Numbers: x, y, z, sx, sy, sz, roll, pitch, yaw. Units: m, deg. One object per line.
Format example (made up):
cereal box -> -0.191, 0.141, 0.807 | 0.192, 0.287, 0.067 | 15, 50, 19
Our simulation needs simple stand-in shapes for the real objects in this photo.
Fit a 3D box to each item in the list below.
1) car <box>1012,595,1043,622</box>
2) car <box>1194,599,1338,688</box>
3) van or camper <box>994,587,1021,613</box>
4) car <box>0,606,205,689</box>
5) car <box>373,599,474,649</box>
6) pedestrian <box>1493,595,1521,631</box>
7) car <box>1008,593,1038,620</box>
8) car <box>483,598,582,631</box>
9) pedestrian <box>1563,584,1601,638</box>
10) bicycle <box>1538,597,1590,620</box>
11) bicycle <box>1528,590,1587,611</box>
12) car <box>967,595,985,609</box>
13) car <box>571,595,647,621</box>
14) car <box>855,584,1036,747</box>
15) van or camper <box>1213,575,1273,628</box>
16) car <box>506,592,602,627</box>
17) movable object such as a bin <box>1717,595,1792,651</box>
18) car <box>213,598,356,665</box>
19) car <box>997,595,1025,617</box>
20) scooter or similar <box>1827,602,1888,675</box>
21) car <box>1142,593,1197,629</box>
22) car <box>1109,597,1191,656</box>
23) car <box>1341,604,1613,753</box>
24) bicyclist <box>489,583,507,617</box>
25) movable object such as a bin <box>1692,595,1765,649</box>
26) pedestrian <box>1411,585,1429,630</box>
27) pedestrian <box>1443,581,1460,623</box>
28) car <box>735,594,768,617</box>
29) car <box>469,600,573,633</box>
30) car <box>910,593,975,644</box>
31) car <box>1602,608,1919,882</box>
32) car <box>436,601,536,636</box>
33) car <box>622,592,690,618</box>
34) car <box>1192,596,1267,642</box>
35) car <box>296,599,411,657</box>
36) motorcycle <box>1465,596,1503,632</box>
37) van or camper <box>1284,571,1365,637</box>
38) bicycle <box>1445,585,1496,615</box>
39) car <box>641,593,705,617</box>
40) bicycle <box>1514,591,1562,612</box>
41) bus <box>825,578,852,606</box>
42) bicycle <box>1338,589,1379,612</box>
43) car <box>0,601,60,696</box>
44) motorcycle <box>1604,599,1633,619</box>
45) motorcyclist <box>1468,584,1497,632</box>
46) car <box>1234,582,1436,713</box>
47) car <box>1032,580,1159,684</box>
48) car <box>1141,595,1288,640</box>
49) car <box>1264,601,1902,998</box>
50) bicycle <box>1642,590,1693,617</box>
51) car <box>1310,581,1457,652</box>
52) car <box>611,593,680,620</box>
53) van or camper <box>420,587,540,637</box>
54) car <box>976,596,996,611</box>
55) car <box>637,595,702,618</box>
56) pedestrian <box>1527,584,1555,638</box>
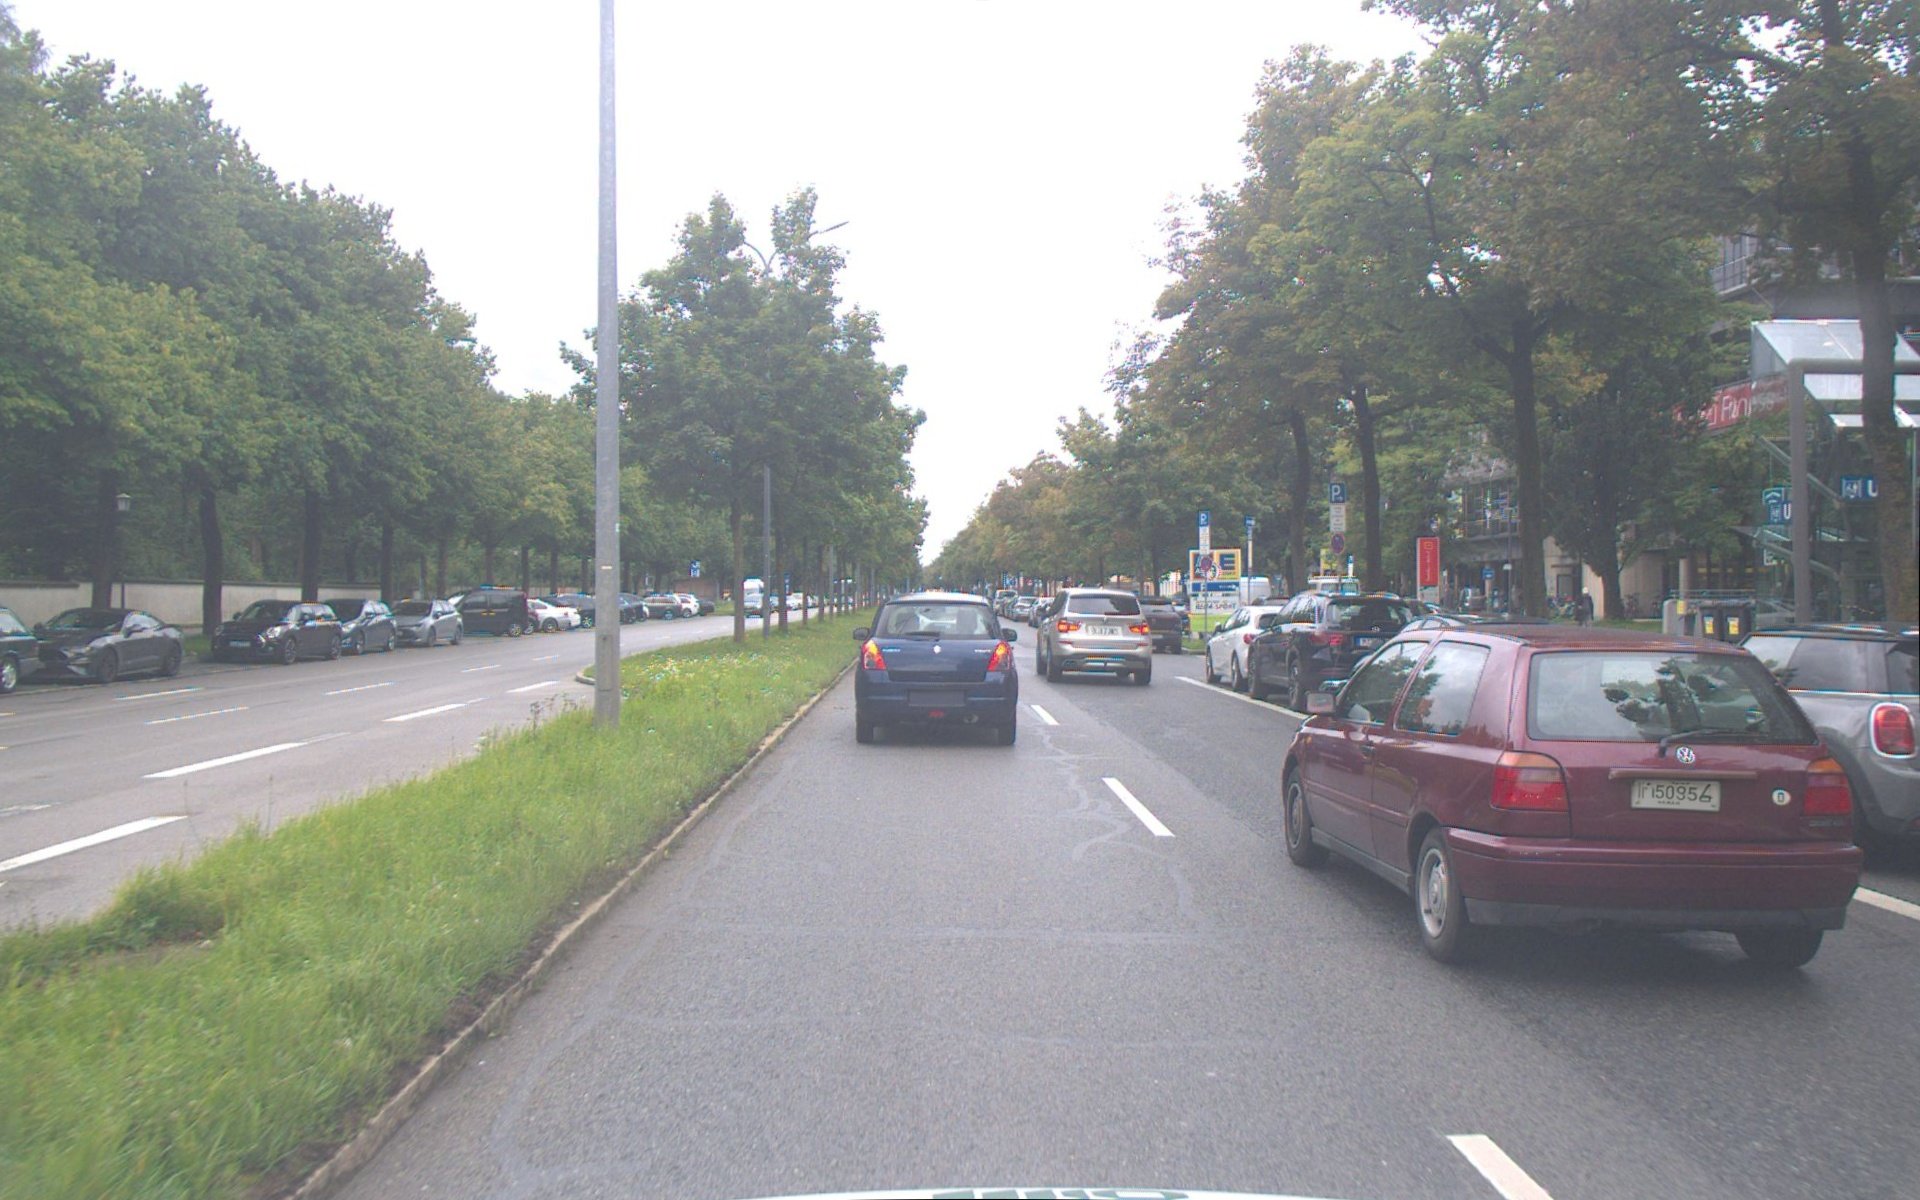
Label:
car -> 4.088, 0.476, 100.422 | 1.650, 1.552, 4.455 | 2, 0, 0
car -> 5.405, 0.719, 29.714 | 1.620, 1.459, 4.481 | 0, 0, -2
van or camper -> 3.647, 0.005, 127.986 | 1.905, 2.009, 4.306 | 0, 0, 0
car -> -16.503, 0.858, 32.081 | 1.625, 1.420, 4.705 | 1, 0, -1
car -> -16.906, 0.723, 52.362 | 1.602, 1.464, 4.808 | 1, 0, 0
pedestrian -> 20.645, 0.507, 62.413 | 0.683, 1.313, 0.732 | -2, -1, -11
car -> 4.022, 0.395, 106.128 | 1.650, 1.654, 4.306 | 1, 0, 0
car -> -18.986, 0.627, 73.497 | 3.999, 1.405, 1.653 | 0, 0, -37
pedestrian -> 20.394, 0.355, 54.261 | 0.811, 1.751, 0.939 | -2, 0, -1
bicycle -> 26.190, 0.354, 71.688 | 2.012, 0.975, 0.742 | 0, 0, 43
bicycle -> 26.409, 0.014, 73.077 | 2.361, 0.885, 0.766 | 0, 0, 43
car -> 1.740, 0.220, 180.160 | 1.813, 1.472, 4.095 | 0, 0, -3
car -> -20.704, 0.451, 97.613 | 4.054, 1.527, 1.898 | 0, 0, -32
car -> -0.236, 0.632, 18.052 | 1.753, 1.583, 3.998 | 0, 0, -3
van or camper -> 14.450, 0.074, 84.712 | 1.983, 2.602, 5.955 | 0, 0, -1
car -> -19.303, 0.446, 78.772 | 4.070, 1.625, 1.891 | 0, 0, -41
movable object such as a bin -> 20.692, 0.580, 43.101 | 1.309, 1.434, 1.314 | 0, 0, -3
car -> -16.490, 0.729, 40.617 | 1.538, 1.529, 4.305 | 1, 0, 3
car -> 3.741, 0.411, 121.620 | 1.651, 1.581, 4.303 | 0, 0, -4
scooter or similar -> 15.817, 0.670, 29.174 | 0.411, 1.254, 1.237 | 1, 0, 1
car -> 9.001, 0.440, 71.277 | 1.713, 1.504, 4.007 | 0, 0, -3
car -> 5.538, 0.740, 48.616 | 1.726, 1.617, 4.450 | 0, 0, -2
car -> 5.671, 0.791, 18.698 | 1.600, 1.464, 4.303 | 0, 0, -2
bicyclist -> -24.698, 0.000, 88.434 | 0.690, 1.777, 0.922 | 0, 0, -1
movable object such as a bin -> 20.644, 0.576, 44.450 | 1.309, 1.434, 1.314 | 0, 0, -3
pedestrian -> 18.500, 0.289, 66.522 | 0.563, 1.782, 0.732 | 0, 0, 3
pedestrian -> 20.922, 0.071, 70.405 | 0.563, 1.782, 0.732 | 0, 0, 3
car -> -14.363, 0.371, 114.052 | 1.875, 1.569, 4.185 | 0, 0, -3
car -> -18.645, 0.679, 70.290 | 3.955, 1.378, 1.827 | 0, 0, -36
car -> -0.579, 0.519, 49.938 | 1.813, 1.472, 4.095 | 0, 0, -3
car -> 5.957, 0.809, 11.156 | 1.601, 1.479, 4.077 | 0, 0, -1
car -> -19.082, 0.740, 66.604 | 3.533, 1.378, 1.735 | 0, 0, -32
car -> -20.270, 0.307, 110.307 | 4.060, 1.725, 1.896 | 0, 0, -35
car -> 9.487, 0.645, 58.502 | 1.729, 1.514, 3.997 | 2, 0, -4
car -> -16.805, 0.734, 46.065 | 1.554, 1.484, 4.797 | 1, 0, -2
motorcycle -> 20.250, 0.541, 63.983 | 0.682, 1.313, 2.066 | -4, 0, -1
van or camper -> 14.930, 0.151, 68.074 | 1.953, 2.602, 5.955 | 0, 0, -1
bicycle -> 26.819, 0.004, 86.880 | 2.566, 1.534, 0.795 | 0, 0, -15
car -> -20.307, 0.320, 117.129 | 4.060, 1.681, 1.896 | 0, 0, -35
bicycle -> 27.163, 0.071, 77.794 | 2.000, 0.975, 0.746 | 0, 0, -3
bus -> -15.645, -1.056, 213.956 | 2.682, 3.436, 12.011 | -1, 0, 0
bicycle -> 26.154, 0.015, 108.533 | 2.560, 1.534, 0.797 | 0, 0, -8
car -> -16.508, 0.795, 26.300 | 1.763, 1.516, 4.914 | 1, 0, -1
motorcycle -> 29.644, 0.390, 74.495 | 0.834, 0.881, 1.569 | 0, 0, 6
motorcyclist -> 20.228, 0.304, 64.051 | 0.677, 1.767, 0.953 | -4, 0, -1
car -> 5.310, 0.619, 24.033 | 1.750, 1.704, 4.594 | 0, 0, -2
car -> 2.413, 0.540, 30.323 | 1.813, 1.773, 4.095 | 0, 0, -3
car -> 8.747, 0.576, 56.847 | 4.724, 1.479, 1.690 | 0, 0, 21
car -> 2.722, 0.753, 8.219 | 1.589, 1.479, 3.948 | 0, 0, -2
bicycle -> 31.737, 0.151, 74.182 | 2.094, 1.225, 0.586 | 0, 0, -4
car -> 10.630, 0.389, 41.269 | 1.934, 1.653, 4.827 | 1, 0, 36
car -> -20.351, 0.406, 107.108 | 4.060, 1.725, 1.896 | 0, 0, -35
van or camper -> -18.480, 0.446, 63.799 | 4.090, 1.887, 1.822 | 0, 0, -42
car -> 2.586, 0.314, 166.332 | 1.813, 1.472, 4.095 | 0, 0, -3
car -> -20.030, 0.433, 114.111 | 4.060, 1.612, 1.896 | 0, 0, -35
pedestrian -> 19.399, 0.358, 55.237 | 0.528, 1.751, 0.987 | -2, 0, -1
